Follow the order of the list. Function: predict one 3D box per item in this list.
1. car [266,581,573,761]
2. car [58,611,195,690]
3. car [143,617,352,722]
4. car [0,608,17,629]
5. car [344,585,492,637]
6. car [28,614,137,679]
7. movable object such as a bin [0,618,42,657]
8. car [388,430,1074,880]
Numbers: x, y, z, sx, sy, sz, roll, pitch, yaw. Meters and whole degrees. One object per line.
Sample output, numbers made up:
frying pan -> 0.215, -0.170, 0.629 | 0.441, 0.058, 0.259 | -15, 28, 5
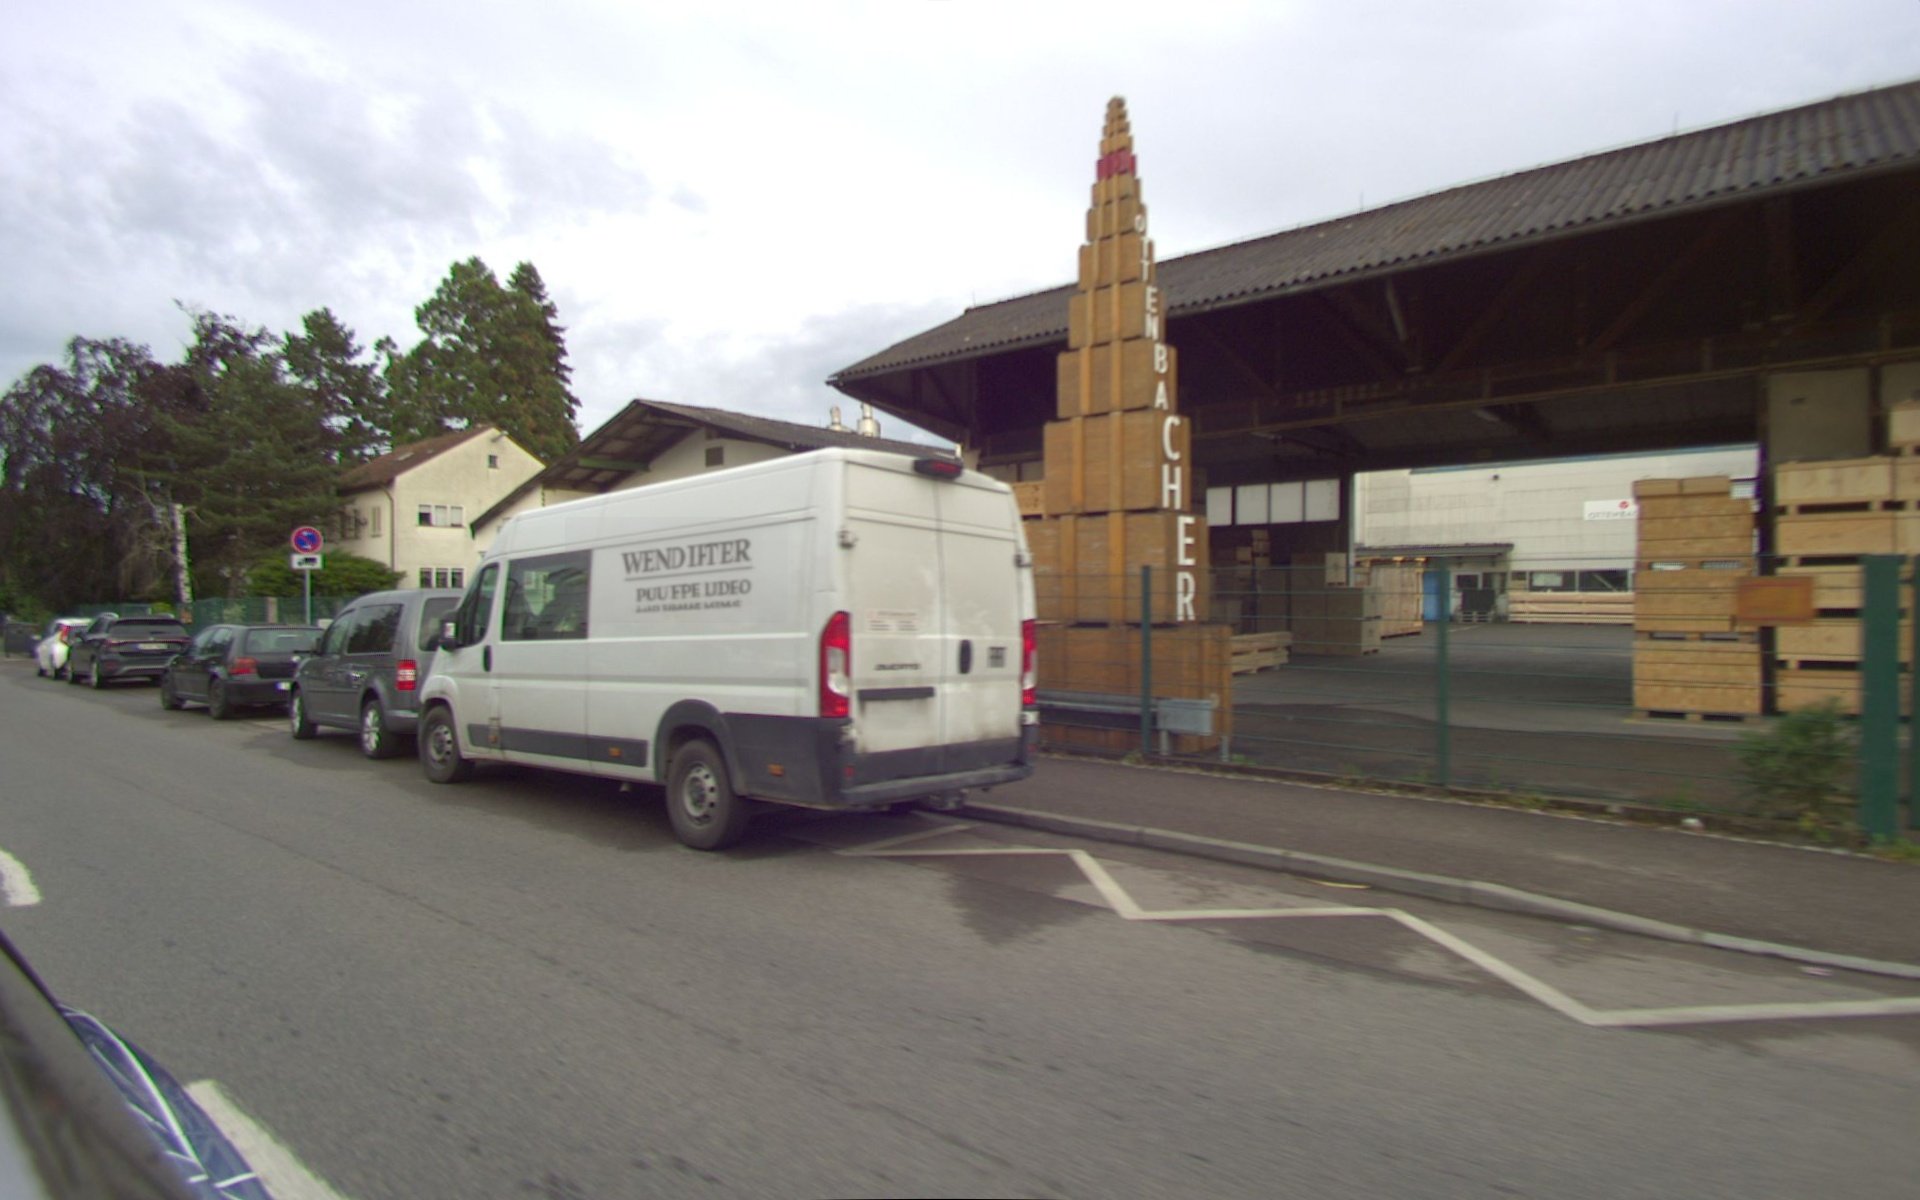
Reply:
car -> -6.638, 0.753, 12.206 | 4.444, 1.782, 1.751 | 0, -3, 41
car -> -18.510, 1.050, 22.434 | 3.913, 1.596, 1.644 | 0, -1, 40
car -> -11.569, 1.011, 16.338 | 4.313, 1.459, 1.645 | 0, -1, 39
car -> -71.324, 1.394, 74.771 | 4.784, 1.451, 1.811 | 0, 2, 40
car -> -22.212, 0.401, 41.632 | 2.000, 1.870, 4.945 | 0, 2, 42
car -> -22.324, 1.124, 25.698 | 3.658, 1.520, 1.599 | 0, -1, 41
movable object such as a bin -> -34.437, 1.348, 36.986 | 1.424, 1.320, 1.090 | 0, 2, 40
car -> -2.332, 0.358, 8.431 | 6.455, 2.445, 2.136 | -1, -2, 41
